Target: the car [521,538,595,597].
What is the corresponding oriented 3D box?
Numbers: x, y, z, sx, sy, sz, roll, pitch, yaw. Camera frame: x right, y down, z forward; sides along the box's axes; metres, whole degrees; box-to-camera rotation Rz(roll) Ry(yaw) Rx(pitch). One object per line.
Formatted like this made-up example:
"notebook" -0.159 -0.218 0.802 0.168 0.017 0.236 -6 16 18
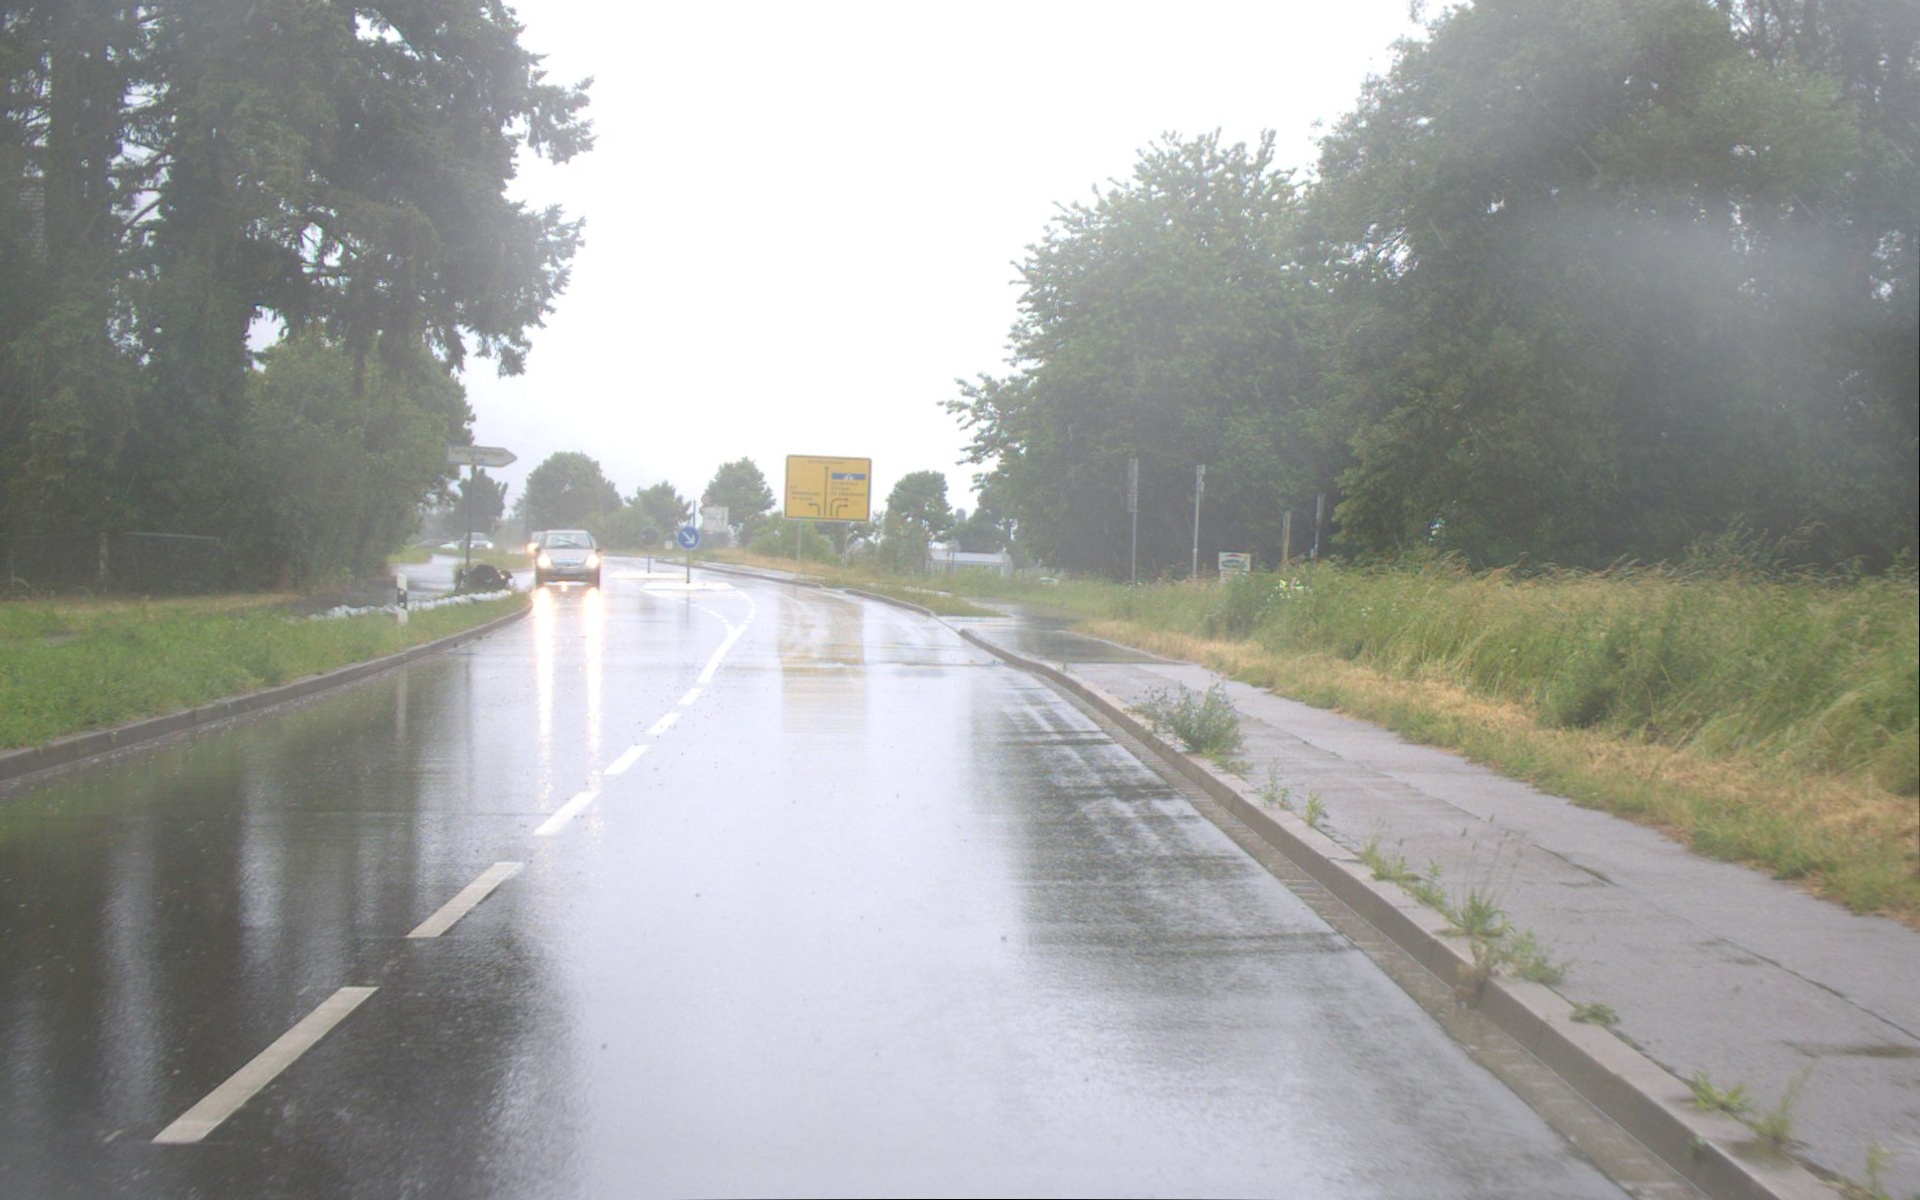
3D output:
"car" -11.345 -0.917 96.836 1.760 1.547 4.001 2 0 -10
